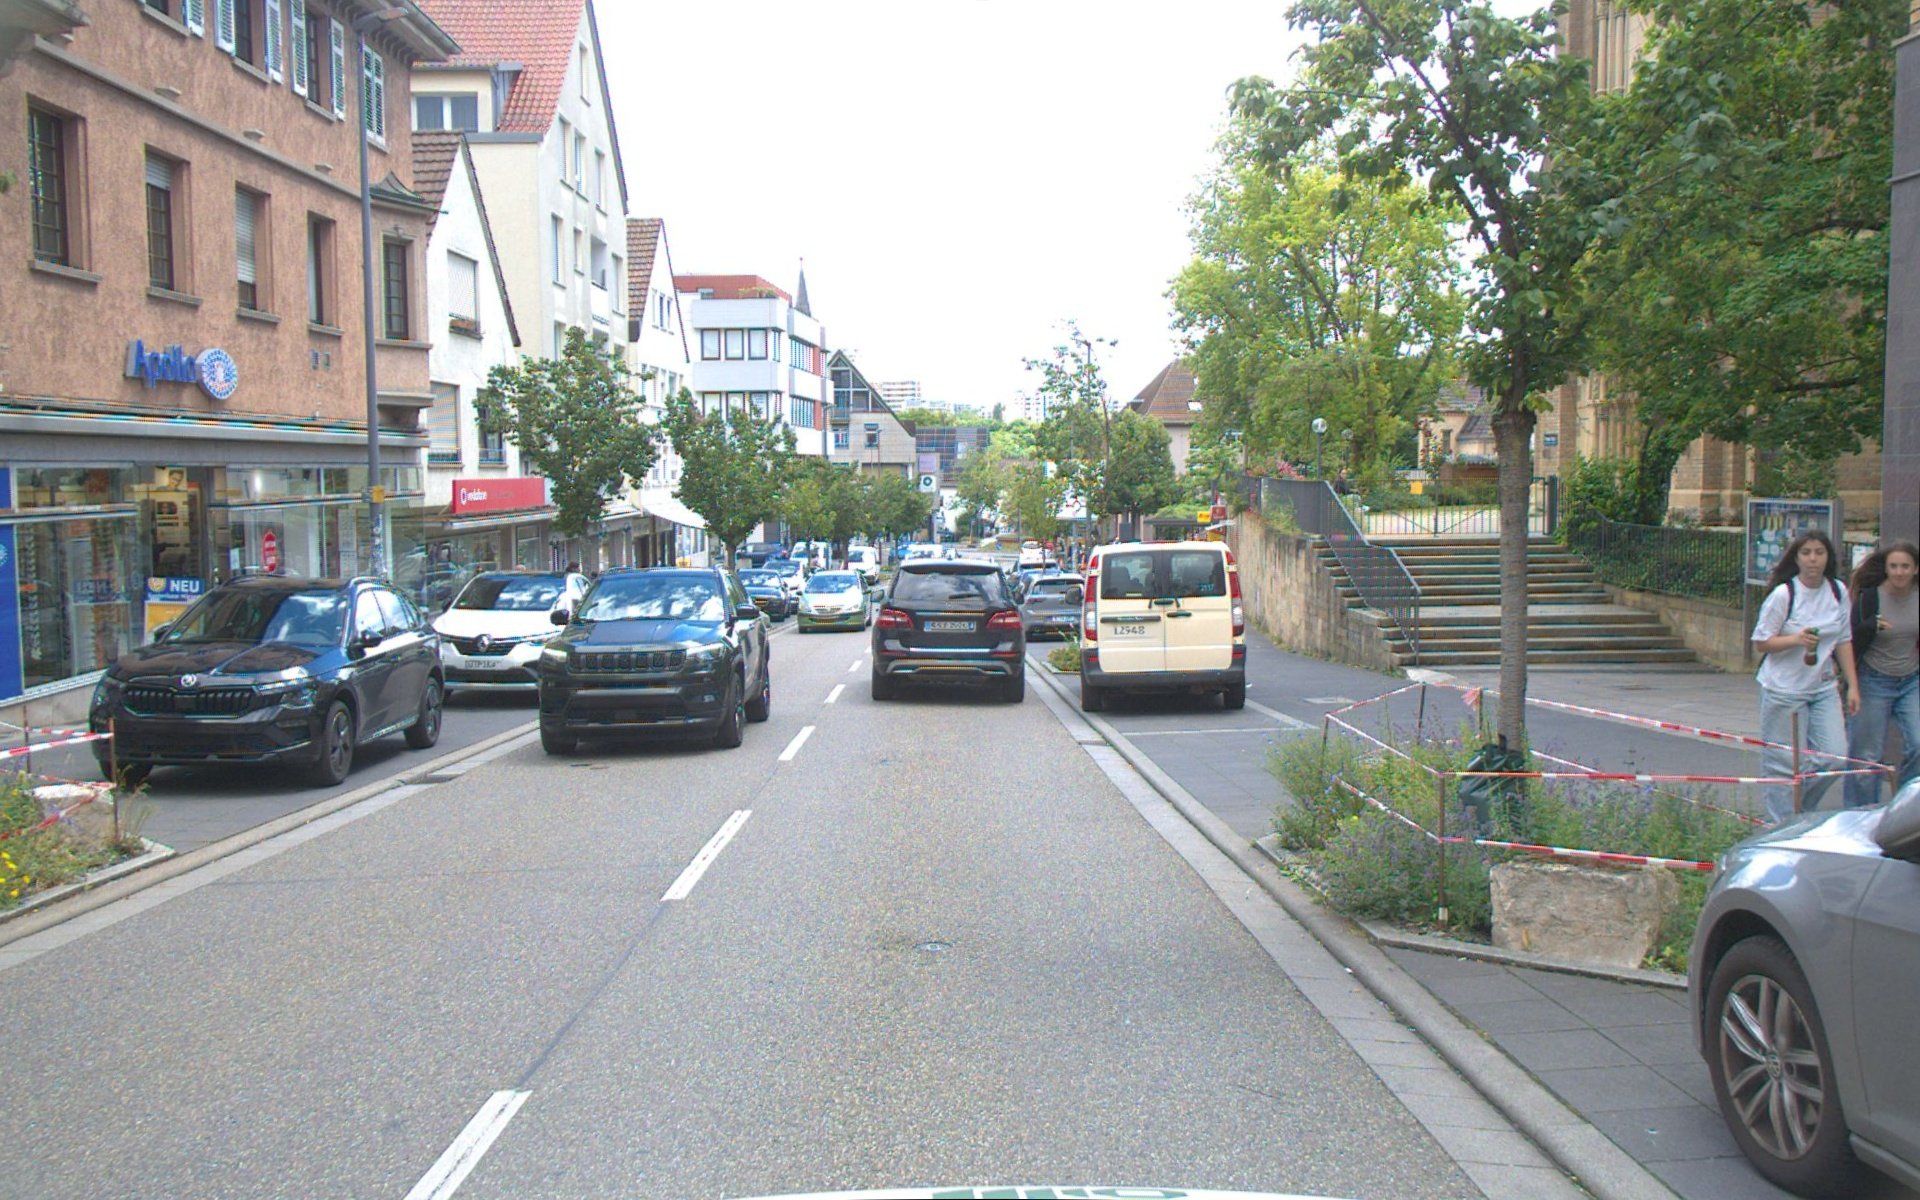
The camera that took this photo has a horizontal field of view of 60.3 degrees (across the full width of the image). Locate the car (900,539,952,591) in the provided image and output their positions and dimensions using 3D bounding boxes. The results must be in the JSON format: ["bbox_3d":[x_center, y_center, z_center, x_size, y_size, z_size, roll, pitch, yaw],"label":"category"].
[{"bbox_3d":[-1.607,-1.672,79.249,2.128,2.405,4.625,0,1,3],"label":"car"}]

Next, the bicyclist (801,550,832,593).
[{"bbox_3d":[-5.632,-1.108,65.054,0.951,1.637,0.724,-3,1,-28],"label":"bicyclist"}]

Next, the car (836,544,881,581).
[{"bbox_3d":[-4.788,-1.784,78.557,1.887,1.656,4.262,2,2,-1],"label":"car"}]

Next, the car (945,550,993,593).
[{"bbox_3d":[0.327,-1.200,68.796,1.887,1.656,4.262,2,2,-1],"label":"car"}]

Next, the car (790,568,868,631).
[{"bbox_3d":[-3.347,-0.046,42.921,1.775,1.534,3.999,-1,1,-2],"label":"car"}]

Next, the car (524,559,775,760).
[{"bbox_3d":[-2.837,0.471,15.947,1.729,1.645,4.032,-1,1,-2],"label":"car"}]

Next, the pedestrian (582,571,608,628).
[{"bbox_3d":[-10.181,-0.022,46.149,0.562,1.561,0.676,-1,1,-2],"label":"pedestrian"}]

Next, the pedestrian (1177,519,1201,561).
[{"bbox_3d":[12.358,-3.231,89.231,0.990,2.188,1.068,-2,1,17],"label":"pedestrian"}]

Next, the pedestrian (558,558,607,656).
[{"bbox_3d":[-6.630,0.112,29.051,0.712,1.696,0.720,0,1,-2],"label":"pedestrian"}]

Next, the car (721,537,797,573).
[{"bbox_3d":[-10.795,-2.411,88.928,3.909,1.780,1.998,-3,1,-5],"label":"car"}]

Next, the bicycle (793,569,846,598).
[{"bbox_3d":[-5.541,-0.654,65.110,1.934,1.076,0.706,-3,1,-28],"label":"bicycle"}]

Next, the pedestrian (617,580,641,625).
[{"bbox_3d":[-9.507,0.066,47.479,0.553,1.304,0.758,0,1,-2],"label":"pedestrian"}]

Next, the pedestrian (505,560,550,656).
[{"bbox_3d":[-7.722,0.138,29.572,0.628,1.696,0.720,0,1,-2],"label":"pedestrian"}]

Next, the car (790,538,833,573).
[{"bbox_3d":[-7.293,-2.198,81.479,1.888,1.656,4.413,2,2,-3],"label":"car"}]

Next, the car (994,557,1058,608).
[{"bbox_3d":[2.153,-0.621,54.824,1.898,1.571,4.707,-1,2,0],"label":"car"}]

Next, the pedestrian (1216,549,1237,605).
[{"bbox_3d":[7.815,-0.672,48.448,0.556,1.614,0.666,-1,0,7],"label":"pedestrian"}]

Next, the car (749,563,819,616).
[{"bbox_3d":[-5.737,-0.379,54.263,1.887,1.657,4.262,0,2,-1],"label":"car"}]

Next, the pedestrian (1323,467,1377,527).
[{"bbox_3d":[8.603,-2.265,36.495,0.970,1.252,0.984,0,0,1],"label":"pedestrian"}]

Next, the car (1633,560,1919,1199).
[{"bbox_3d":[2.902,0.652,2.807,1.713,1.491,4.073,-3,1,-2],"label":"car"}]

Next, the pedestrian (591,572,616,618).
[{"bbox_3d":[-10.234,-0.145,47.473,0.553,1.304,0.758,0,1,-2],"label":"pedestrian"}]

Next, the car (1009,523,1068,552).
[{"bbox_3d":[5.890,-4.724,124.629,4.110,2.065,1.783,0,1,33],"label":"car"}]

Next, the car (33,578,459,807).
[{"bbox_3d":[-5.661,0.621,13.775,1.888,1.522,4.259,-1,2,-4],"label":"car"}]

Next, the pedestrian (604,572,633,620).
[{"bbox_3d":[-9.523,-0.113,46.141,0.673,1.304,0.676,-1,1,-2],"label":"pedestrian"}]

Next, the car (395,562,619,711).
[{"bbox_3d":[-5.667,0.376,21.260,1.888,1.623,4.455,2,2,-4],"label":"car"}]

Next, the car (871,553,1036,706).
[{"bbox_3d":[-0.089,0.301,21.515,1.904,1.770,4.179,1,1,-1],"label":"car"}]

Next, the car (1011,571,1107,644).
[{"bbox_3d":[2.218,0.114,38.043,1.898,1.482,4.707,-1,2,0],"label":"car"}]

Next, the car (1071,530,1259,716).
[{"bbox_3d":[2.370,0.173,20.168,1.897,1.924,4.709,-2,2,3],"label":"car"}]

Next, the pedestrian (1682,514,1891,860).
[{"bbox_3d":[4.186,0.417,8.419,0.658,1.661,0.669,-3,1,-3],"label":"pedestrian"}]

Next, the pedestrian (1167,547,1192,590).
[{"bbox_3d":[10.111,-1.459,76.100,1.027,1.946,0.937,-2,1,6],"label":"pedestrian"}]

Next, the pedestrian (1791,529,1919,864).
[{"bbox_3d":[4.856,0.467,8.606,0.658,1.661,0.669,-3,1,-3],"label":"pedestrian"}]

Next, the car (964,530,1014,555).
[{"bbox_3d":[2.517,-5.003,144.218,4.005,2.048,1.992,1,1,-16],"label":"car"}]
